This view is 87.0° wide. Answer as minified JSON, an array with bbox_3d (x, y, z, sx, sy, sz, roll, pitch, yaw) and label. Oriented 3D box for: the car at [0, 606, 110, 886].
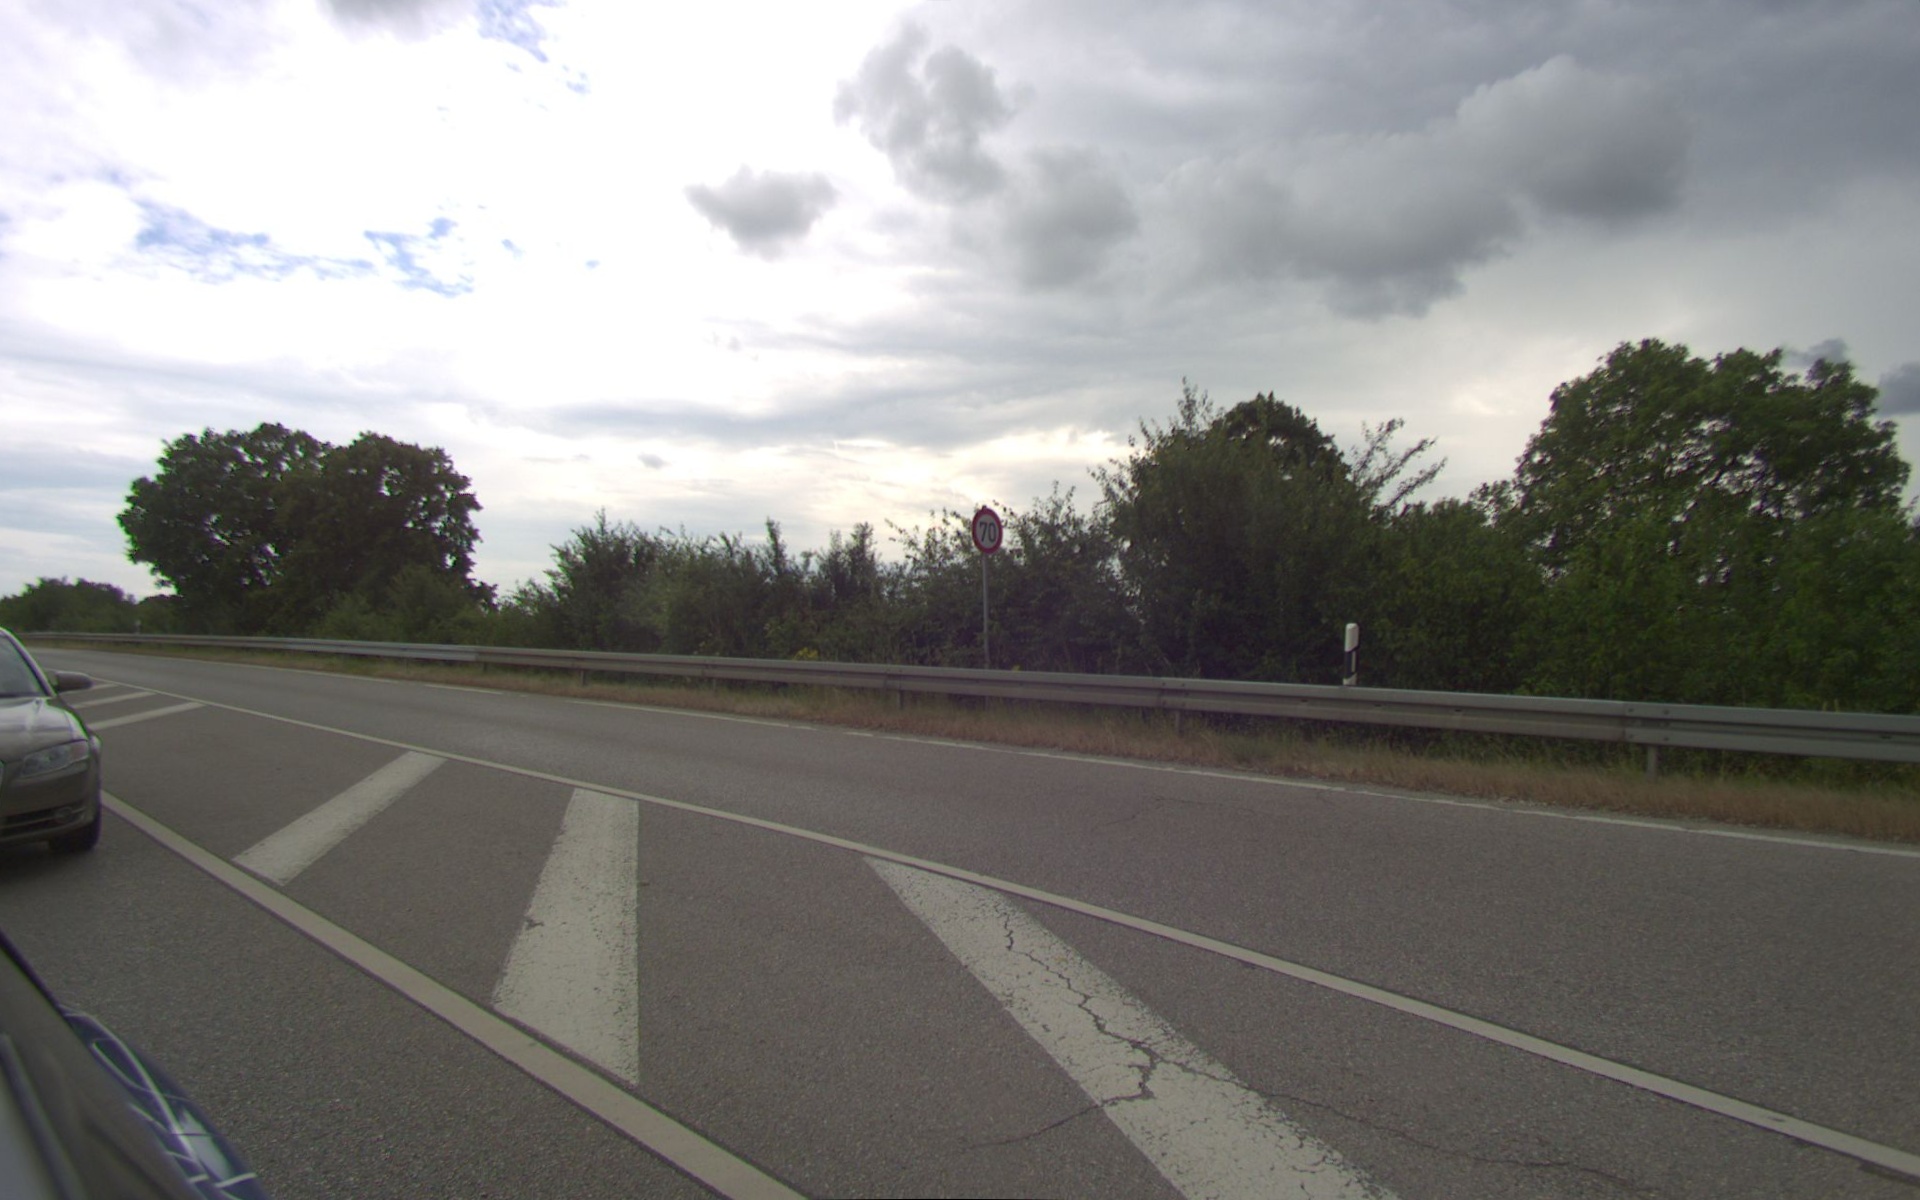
[{"bbox_3d":[-6.820,0.800,6.289,4.032,1.461,1.761,-2,-1,41],"label":"car"}]
